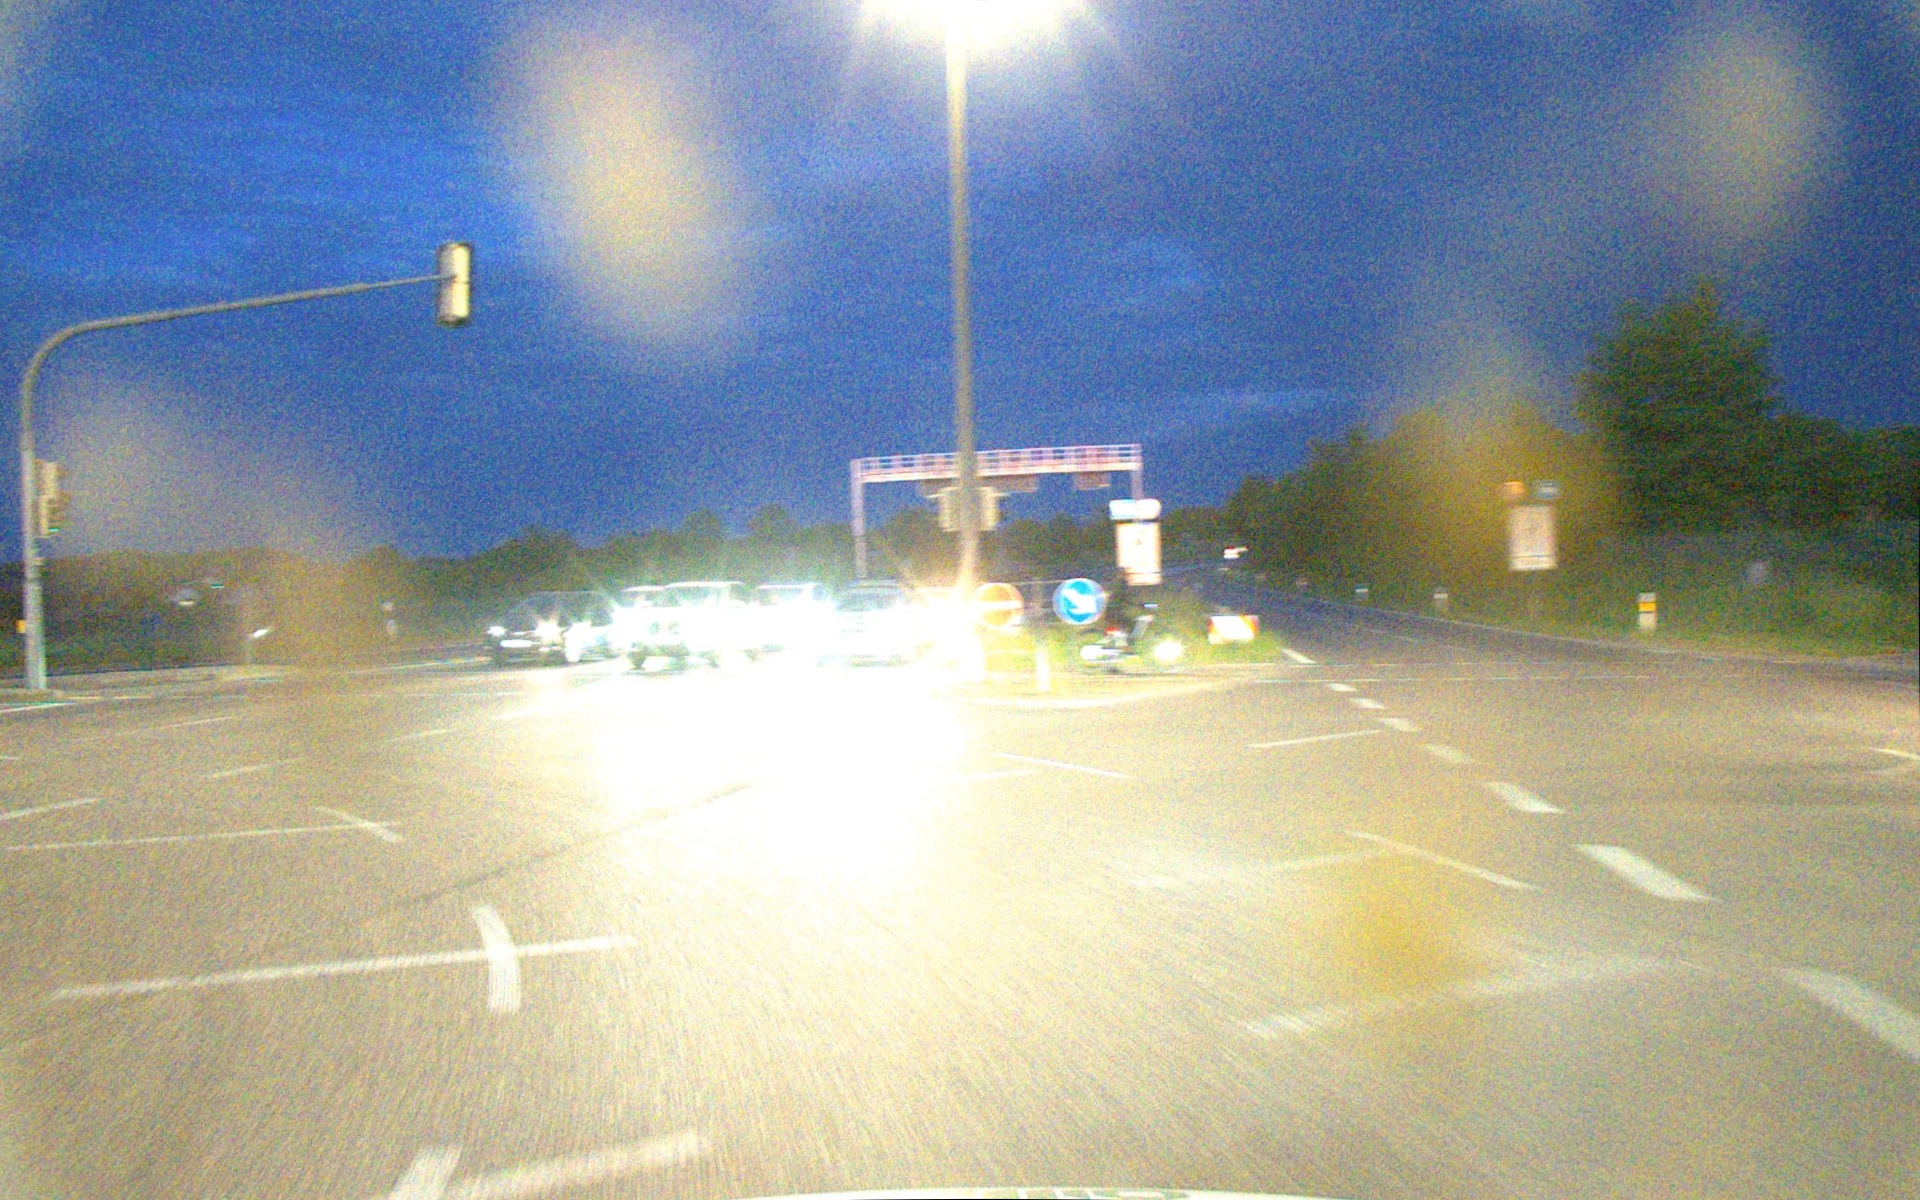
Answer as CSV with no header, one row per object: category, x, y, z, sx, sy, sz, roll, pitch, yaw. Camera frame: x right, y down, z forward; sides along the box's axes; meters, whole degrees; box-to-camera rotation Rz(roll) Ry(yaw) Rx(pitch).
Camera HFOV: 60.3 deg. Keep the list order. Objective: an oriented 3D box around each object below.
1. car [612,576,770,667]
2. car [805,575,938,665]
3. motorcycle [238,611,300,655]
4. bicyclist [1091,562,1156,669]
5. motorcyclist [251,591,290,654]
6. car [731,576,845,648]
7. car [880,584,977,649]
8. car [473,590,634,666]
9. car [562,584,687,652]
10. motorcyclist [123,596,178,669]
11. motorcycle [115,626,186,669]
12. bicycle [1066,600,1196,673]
car,-5.375,0.378,33.650,1.867,1.711,4.424,-1,1,9
car,-1.713,0.354,33.534,1.812,1.661,4.589,-1,1,8
motorcycle,-20.299,0.976,48.596,0.829,1.202,1.822,-5,-2,6
bicyclist,2.619,0.242,26.563,0.976,1.680,0.604,-1,0,2
motorcyclist,-20.296,0.675,48.700,0.667,1.789,0.790,-5,-2,6
car,-4.165,0.248,40.729,1.708,1.655,4.367,-1,1,9
car,-0.727,0.377,41.019,1.735,1.507,3.913,0,1,9
car,-8.561,0.550,35.219,1.742,1.471,4.295,-1,1,10
car,-8.298,0.409,41.224,1.792,1.551,4.004,-2,1,8
motorcyclist,-21.705,0.869,44.355,0.895,1.840,0.870,-7,-3,21
motorcycle,-21.677,1.264,44.305,0.706,1.051,1.577,-7,-3,21
bicycle,2.728,0.582,26.546,2.018,1.120,0.695,-1,0,2
